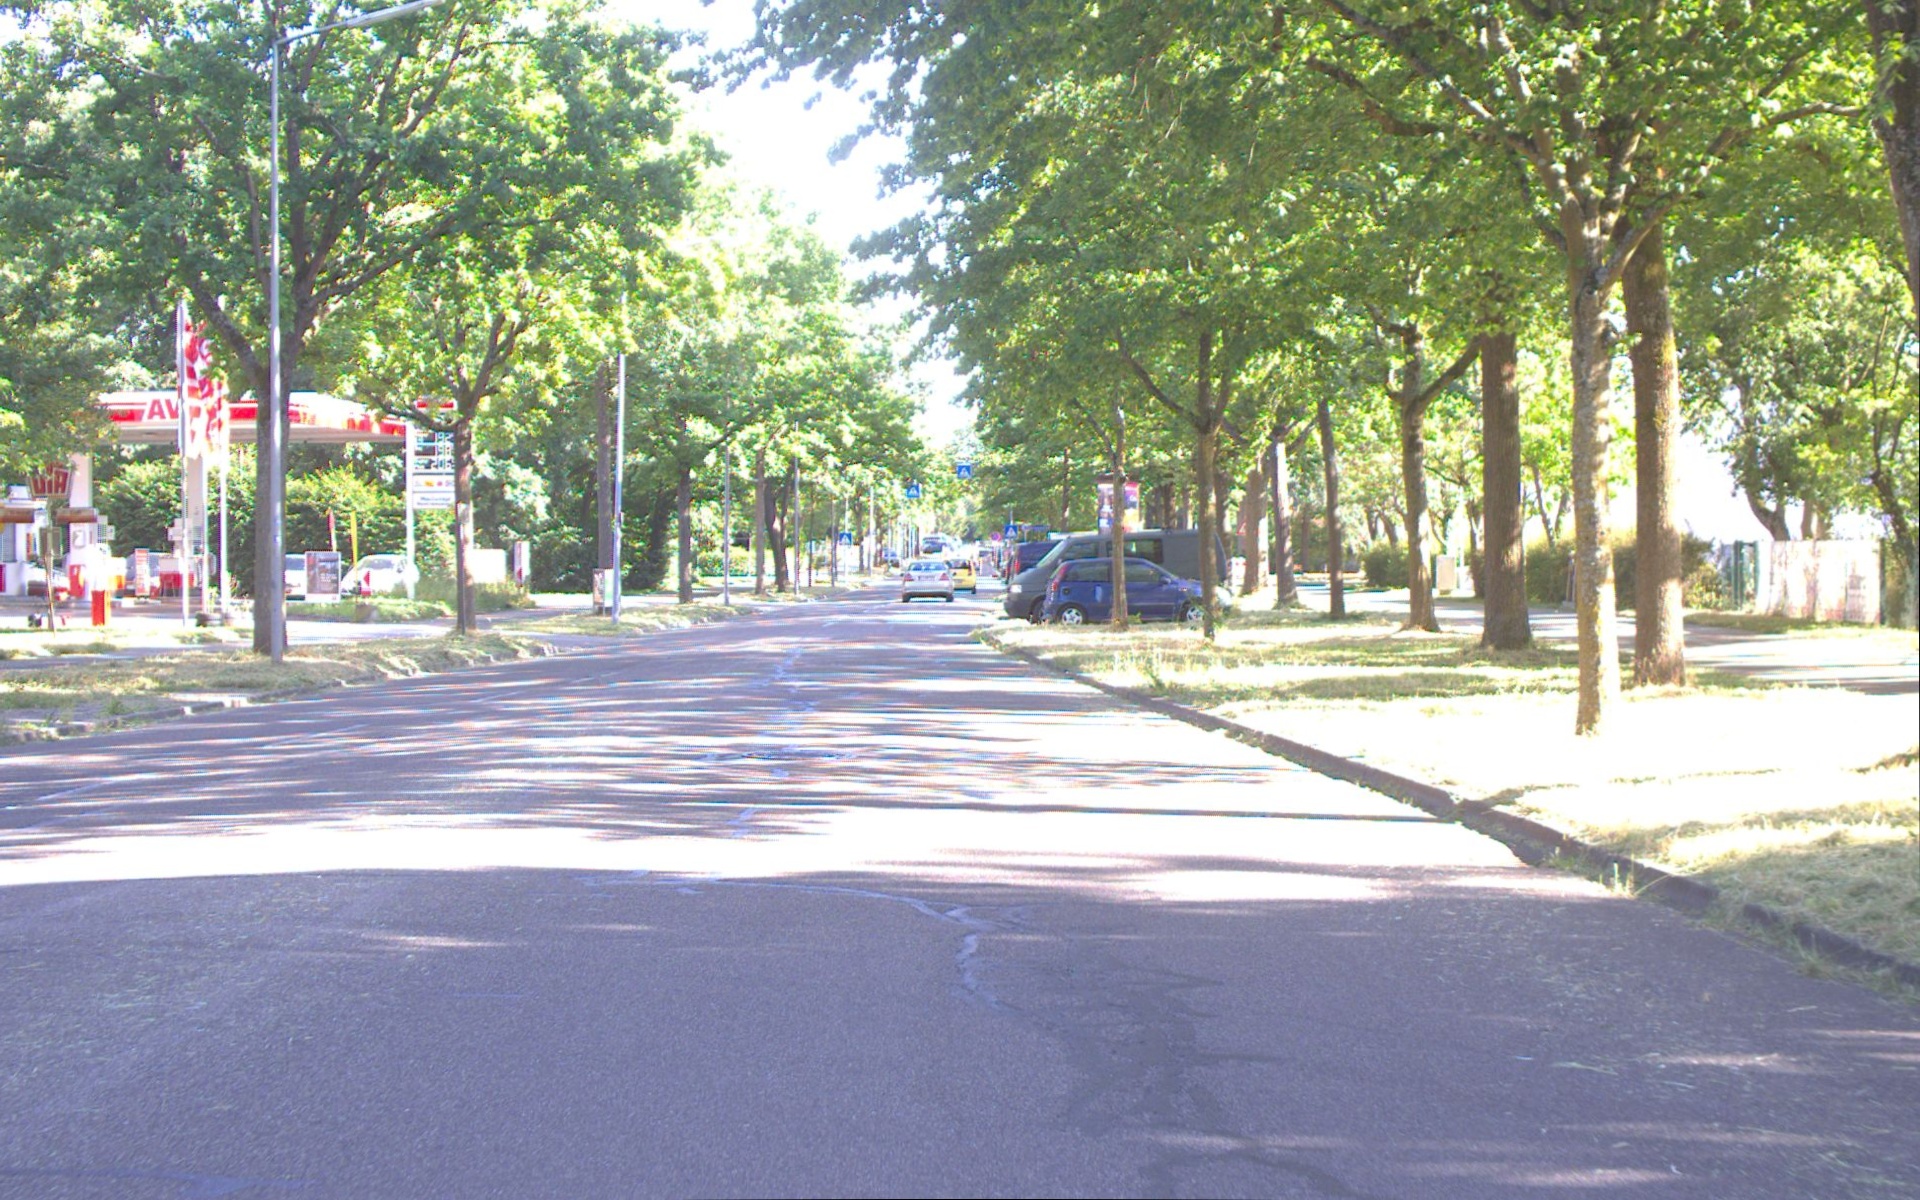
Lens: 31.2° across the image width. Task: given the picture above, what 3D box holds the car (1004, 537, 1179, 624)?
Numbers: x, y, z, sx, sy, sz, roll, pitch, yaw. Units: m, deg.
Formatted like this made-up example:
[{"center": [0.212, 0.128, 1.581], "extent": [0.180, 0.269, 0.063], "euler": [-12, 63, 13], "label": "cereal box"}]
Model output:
[{"center": [2.791, -0.404, 73.307], "extent": [3.653, 1.791, 1.317], "euler": [-1, -1, 0], "label": "car"}]

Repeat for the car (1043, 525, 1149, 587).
[{"center": [4.720, -1.528, 119.720], "extent": [3.567, 2.044, 1.633], "euler": [-1, -1, 0], "label": "car"}]

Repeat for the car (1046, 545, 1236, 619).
[{"center": [3.555, -0.351, 67.834], "extent": [3.653, 1.393, 1.317], "euler": [-1, -1, 0], "label": "car"}]

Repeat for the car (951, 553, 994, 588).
[{"center": [0.499, -1.204, 139.219], "extent": [1.661, 1.332, 3.665], "euler": [-1, 0, -1], "label": "car"}]

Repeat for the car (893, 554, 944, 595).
[{"center": [-1.407, -0.850, 116.558], "extent": [1.661, 1.332, 3.665], "euler": [-1, 0, -1], "label": "car"}]

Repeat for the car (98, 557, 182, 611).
[{"center": [-25.898, -0.488, 108.673], "extent": [1.801, 1.615, 3.805], "euler": [-1, 0, -1], "label": "car"}]

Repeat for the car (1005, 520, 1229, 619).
[{"center": [3.209, -0.617, 70.816], "extent": [4.502, 1.946, 1.687], "euler": [-1, -1, 0], "label": "car"}]

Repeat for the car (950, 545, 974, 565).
[{"center": [0.138, -3.269, 249.761], "extent": [1.661, 1.332, 3.665], "euler": [-1, 0, -1], "label": "car"}]

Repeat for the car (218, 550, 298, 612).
[{"center": [-21.657, -0.567, 106.160], "extent": [1.801, 1.817, 3.805], "euler": [-1, 0, -2], "label": "car"}]
